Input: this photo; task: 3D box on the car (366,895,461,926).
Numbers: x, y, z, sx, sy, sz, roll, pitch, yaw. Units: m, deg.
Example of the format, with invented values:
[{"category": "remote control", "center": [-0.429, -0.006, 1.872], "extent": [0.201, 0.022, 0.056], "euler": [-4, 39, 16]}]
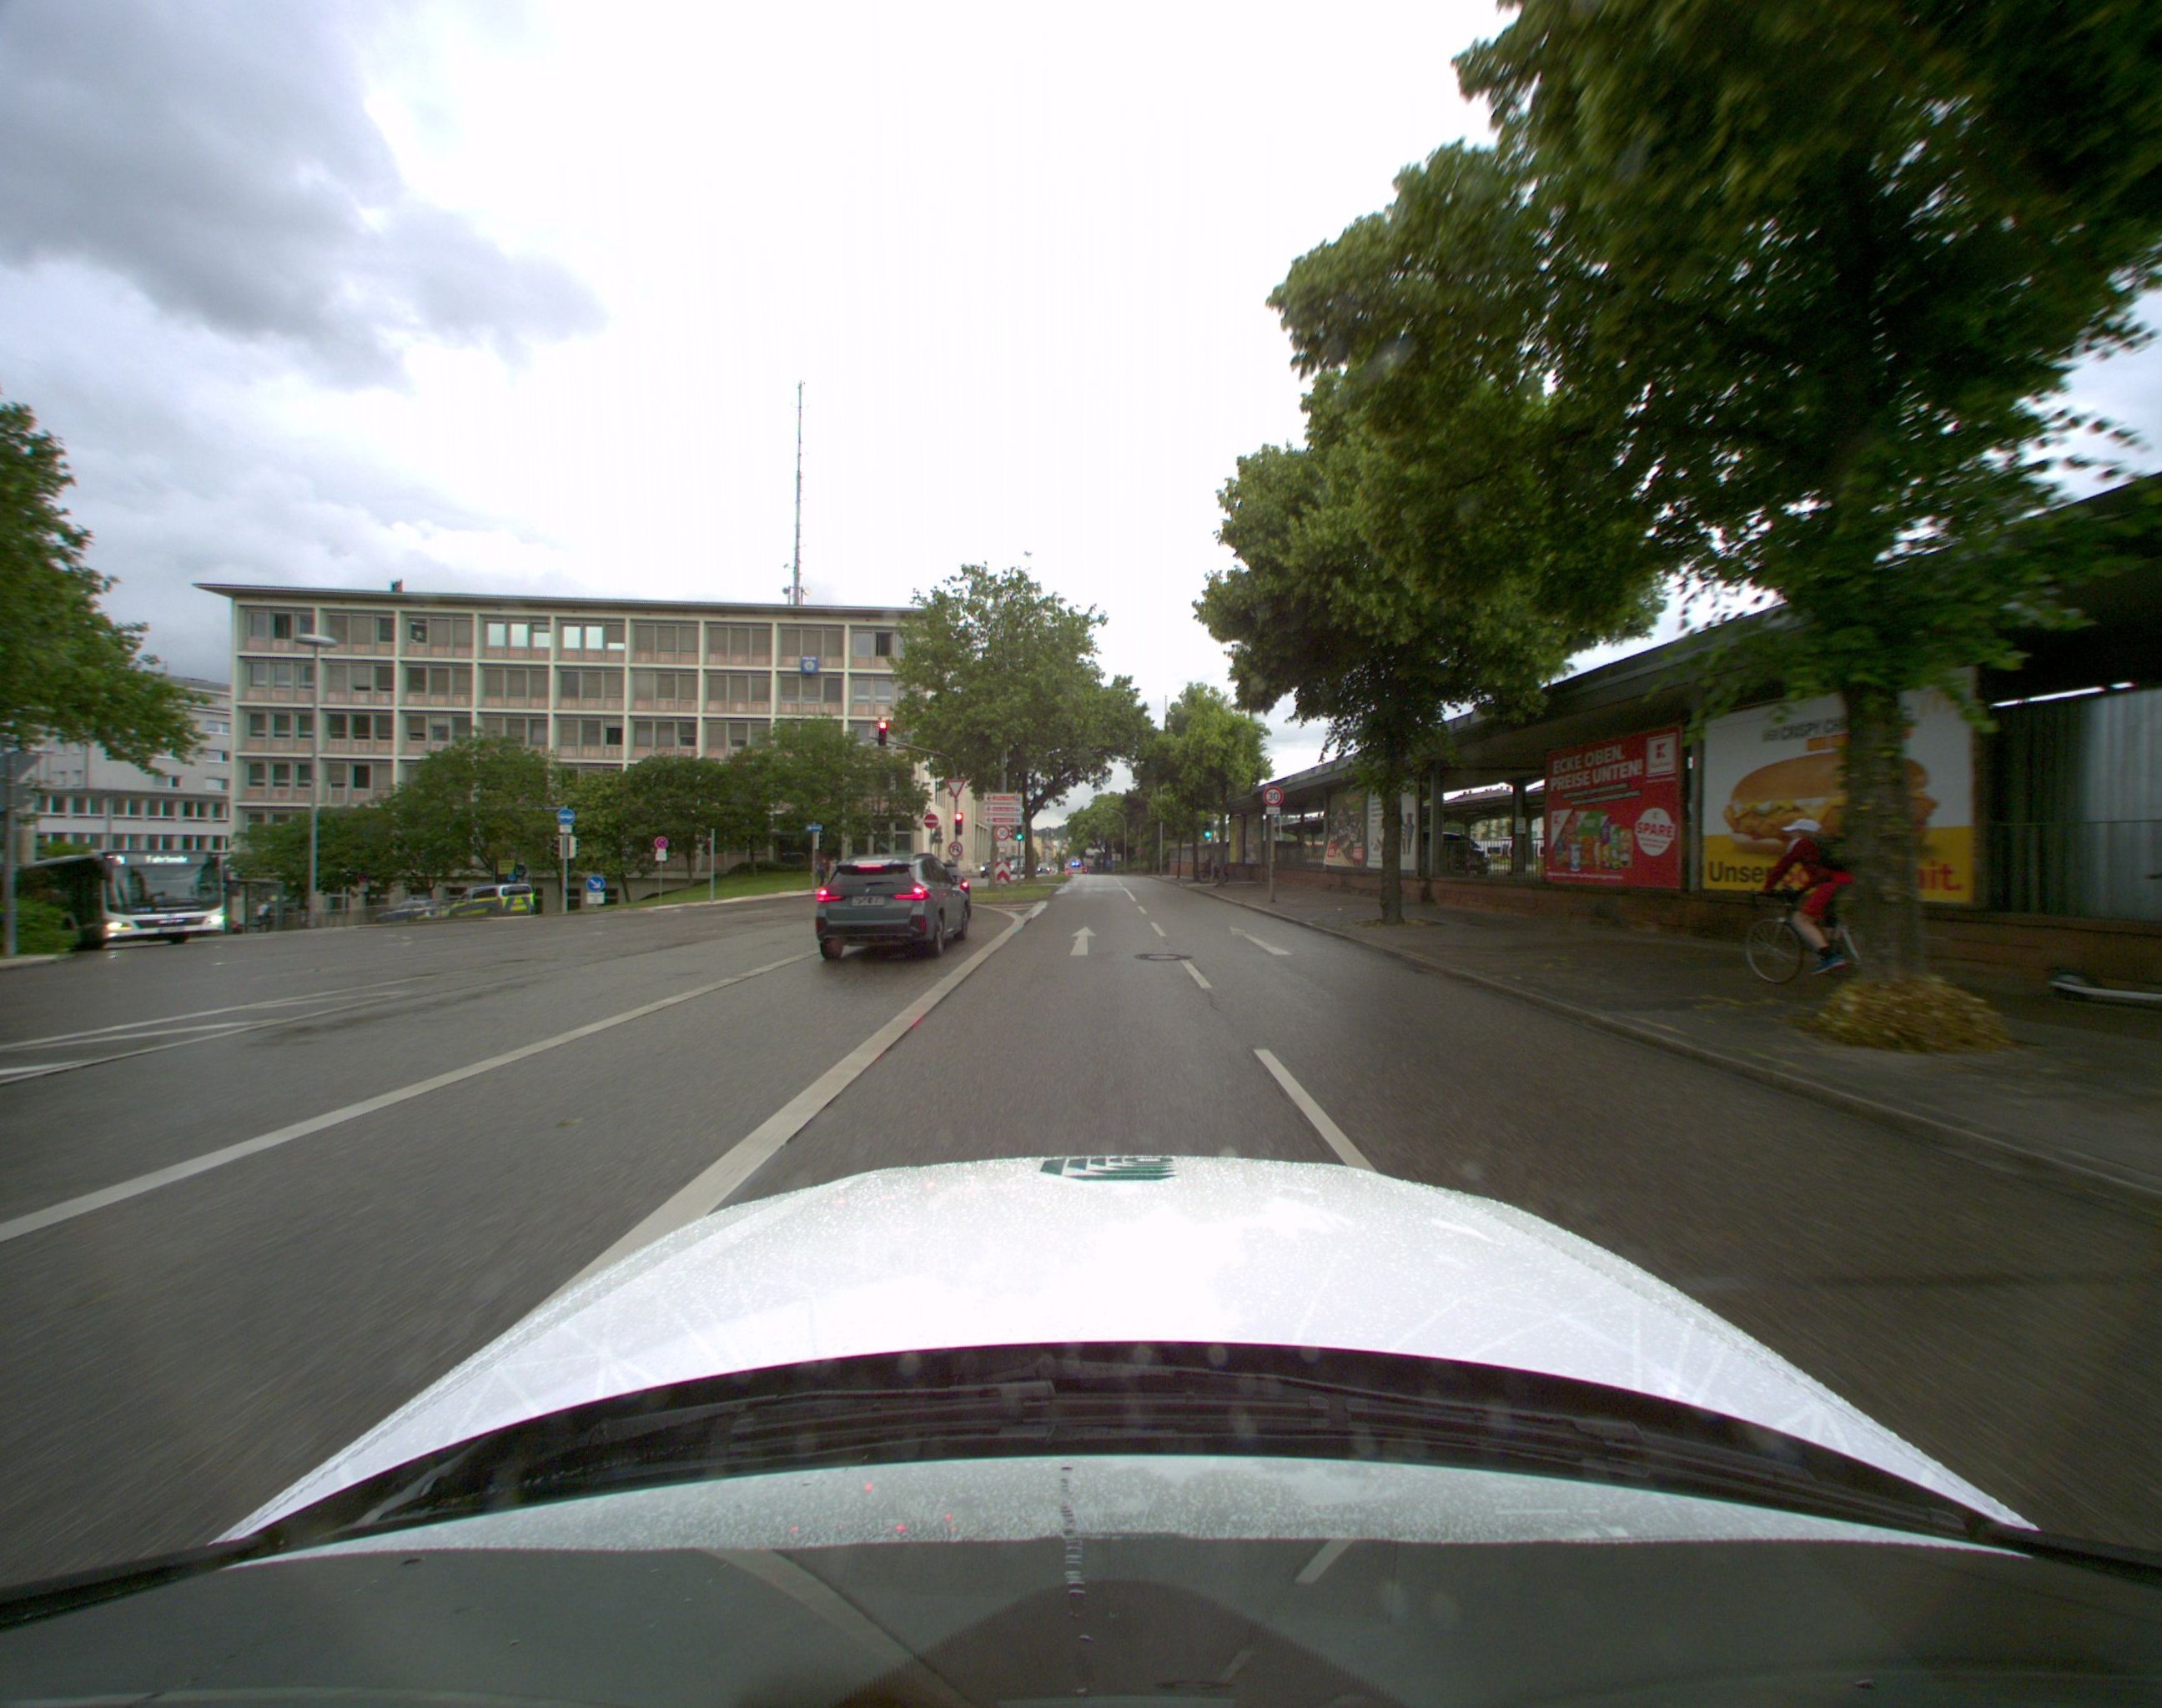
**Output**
[{"category": "car", "center": [-37.131, 3.156, 45.305], "extent": [4.534, 1.419, 2.011], "euler": [-3, 0, 21]}]

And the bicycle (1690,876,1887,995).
[{"category": "bicycle", "center": [7.020, 0.756, 8.195], "extent": [0.445, 1.016, 1.676], "euler": [-3, 0, -1]}]

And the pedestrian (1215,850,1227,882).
[{"category": "pedestrian", "center": [7.021, 0.598, 40.905], "extent": [0.452, 1.568, 0.396], "euler": [-1, 0, 32]}]

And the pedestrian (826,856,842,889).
[{"category": "pedestrian", "center": [-13.119, 0.990, 43.299], "extent": [0.652, 1.710, 0.795], "euler": [-1, 0, -8]}]

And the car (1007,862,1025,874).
[{"category": "car", "center": [-7.189, 1.551, 89.787], "extent": [1.537, 1.354, 4.110], "euler": [1, -1, 1]}]

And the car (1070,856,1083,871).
[{"category": "car", "center": [-0.866, 1.730, 150.343], "extent": [2.257, 2.656, 3.998], "euler": [-1, 0, -1]}]

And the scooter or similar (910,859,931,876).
[{"category": "scooter or similar", "center": [-11.625, 0.978, 58.937], "extent": [0.601, 1.192, 1.538], "euler": [-1, 0, 34]}]

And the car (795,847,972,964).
[{"category": "car", "center": [-3.111, 0.744, 13.800], "extent": [1.958, 1.640, 4.356], "euler": [-1, 0, -1]}]

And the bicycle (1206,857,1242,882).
[{"category": "bicycle", "center": [7.256, 0.800, 41.278], "extent": [1.703, 1.249, 0.489], "euler": [-1, 0, 32]}]

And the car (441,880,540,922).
[{"category": "car", "center": [-31.136, 2.499, 42.919], "extent": [4.534, 1.965, 2.010], "euler": [-3, -1, 21]}]

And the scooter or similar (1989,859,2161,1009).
[{"category": "scooter or similar", "center": [8.588, 0.621, 6.686], "extent": [0.491, 1.153, 1.544], "euler": [-1, -1, -2]}]

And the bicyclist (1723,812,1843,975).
[{"category": "bicyclist", "center": [6.999, 0.381, 8.147], "extent": [0.532, 1.538, 0.694], "euler": [-2, 0, -2]}]

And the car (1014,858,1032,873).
[{"category": "car", "center": [-7.353, 1.476, 103.467], "extent": [1.943, 1.944, 4.993], "euler": [0, -1, -1]}]

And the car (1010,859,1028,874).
[{"category": "car", "center": [-7.219, 1.428, 95.147], "extent": [1.791, 1.676, 4.602], "euler": [1, -1, 0]}]

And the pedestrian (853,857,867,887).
[{"category": "pedestrian", "center": [-11.952, 0.980, 43.999], "extent": [0.653, 1.603, 0.921], "euler": [-1, 0, -11]}]

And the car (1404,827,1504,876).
[{"category": "car", "center": [15.221, -0.096, 33.533], "extent": [1.988, 1.871, 4.596], "euler": [0, 0, -1]}]

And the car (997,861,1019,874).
[{"category": "car", "center": [-7.492, 1.411, 84.010], "extent": [1.684, 1.297, 4.095], "euler": [1, -1, 3]}]

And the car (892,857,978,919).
[{"category": "car", "center": [-3.925, 0.820, 21.416], "extent": [1.819, 1.409, 4.391], "euler": [-1, 0, -16]}]

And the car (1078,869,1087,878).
[{"category": "car", "center": [0.382, 4.626, 196.026], "extent": [2.086, 1.910, 4.097], "euler": [-1, 0, -2]}]

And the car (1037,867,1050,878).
[{"category": "car", "center": [-5.481, 2.670, 118.370], "extent": [1.817, 1.660, 4.333], "euler": [-1, -1, -2]}]

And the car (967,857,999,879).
[{"category": "car", "center": [-7.283, 1.057, 61.032], "extent": [1.835, 1.508, 4.102], "euler": [2, -1, 0]}]

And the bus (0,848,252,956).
[{"category": "bus", "center": [-33.149, 1.708, 27.356], "extent": [11.831, 3.019, 2.904], "euler": [-4, -1, 21]}]

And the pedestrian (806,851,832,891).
[{"category": "pedestrian", "center": [-13.541, 0.892, 42.114], "extent": [0.930, 2.045, 0.875], "euler": [-1, 0, 7]}]
